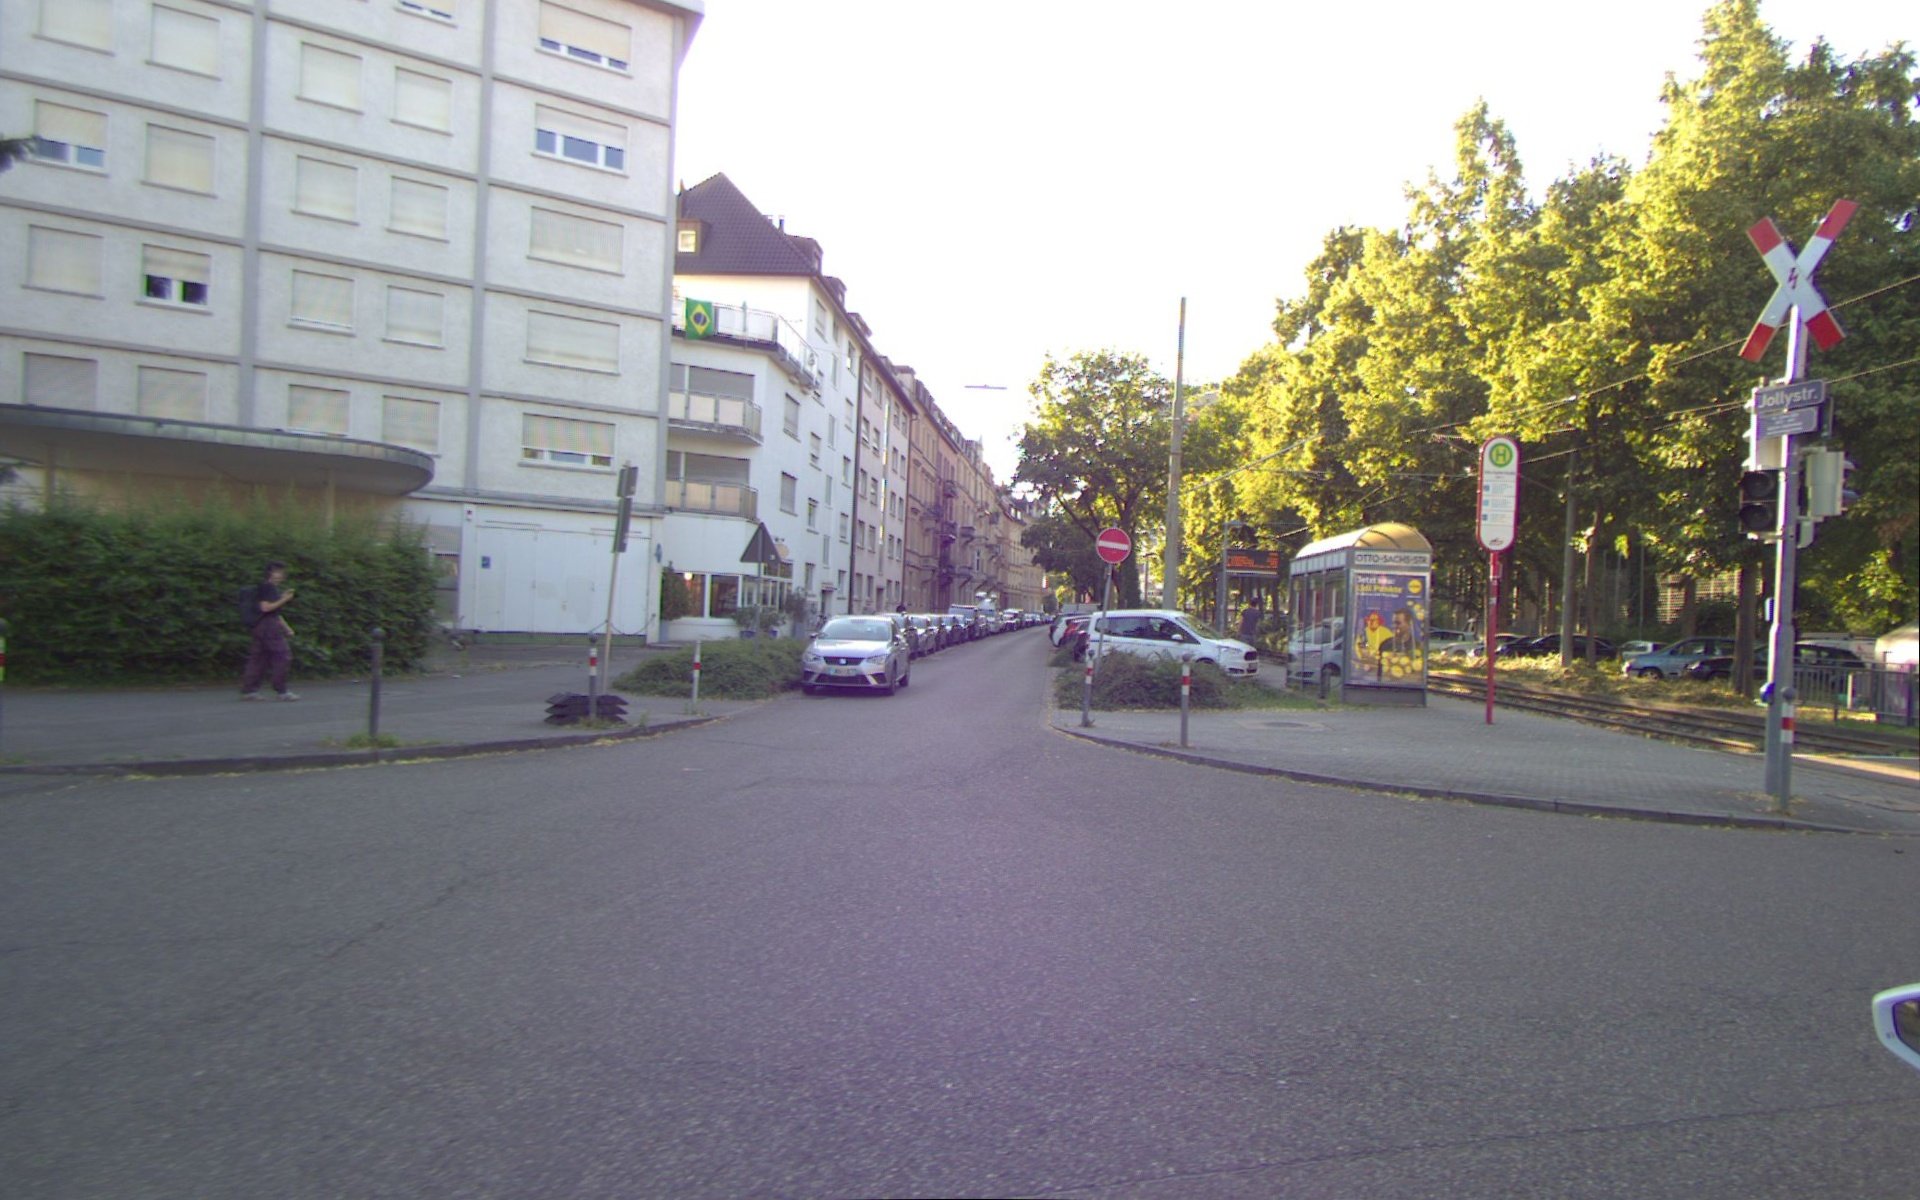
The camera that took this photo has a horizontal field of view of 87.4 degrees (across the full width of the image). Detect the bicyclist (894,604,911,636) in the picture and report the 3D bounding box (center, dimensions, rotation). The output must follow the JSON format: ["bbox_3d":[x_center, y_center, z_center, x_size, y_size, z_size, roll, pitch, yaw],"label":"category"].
[{"bbox_3d":[-3.040,1.069,52.929,0.699,1.638,0.724,2,0,7],"label":"bicyclist"}]

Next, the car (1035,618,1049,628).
[{"bbox_3d":[12.626,3.463,154.088,1.681,1.465,4.003,1,-1,11],"label":"car"}]

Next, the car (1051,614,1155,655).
[{"bbox_3d":[6.196,1.509,43.798,4.182,1.673,1.847,-3,-2,43],"label":"car"}]

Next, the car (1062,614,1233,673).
[{"bbox_3d":[4.995,1.185,26.911,4.133,1.455,1.697,-3,-1,31],"label":"car"}]

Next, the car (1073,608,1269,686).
[{"bbox_3d":[4.864,1.087,23.421,4.175,1.674,1.601,-3,-2,37],"label":"car"}]

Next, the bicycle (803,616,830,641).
[{"bbox_3d":[-6.088,1.198,42.682,0.522,1.016,2.177,2,0,7],"label":"bicycle"}]

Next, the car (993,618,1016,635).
[{"bbox_3d":[3.989,2.327,89.096,1.681,1.465,4.002,1,-1,8],"label":"car"}]

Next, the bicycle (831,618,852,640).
[{"bbox_3d":[-5.789,1.423,49.282,0.522,1.016,2.177,2,0,5],"label":"bicycle"}]

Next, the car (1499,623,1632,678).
[{"bbox_3d":[21.208,1.765,35.347,3.758,1.516,1.737,5,-1,26],"label":"car"}]

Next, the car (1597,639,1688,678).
[{"bbox_3d":[29.426,2.488,43.425,1.545,1.487,3.601,2,-1,2],"label":"car"}]

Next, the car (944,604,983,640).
[{"bbox_3d":[0.226,1.267,58.459,1.681,1.958,4.003,1,-1,9],"label":"car"}]

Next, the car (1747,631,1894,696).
[{"bbox_3d":[28.663,2.075,33.628,1.545,1.929,3.902,2,-1,1],"label":"car"}]

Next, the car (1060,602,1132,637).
[{"bbox_3d":[10.719,1.537,79.378,5.182,2.605,2.266,-3,-1,35],"label":"car"}]

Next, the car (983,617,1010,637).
[{"bbox_3d":[2.925,2.139,79.811,1.681,1.465,4.003,1,-1,9],"label":"car"}]

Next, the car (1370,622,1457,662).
[{"bbox_3d":[22.495,2.105,49.901,3.758,1.607,1.737,5,-1,26],"label":"car"}]

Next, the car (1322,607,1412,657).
[{"bbox_3d":[23.897,1.839,59.062,4.428,2.508,1.813,4,-1,37],"label":"car"}]

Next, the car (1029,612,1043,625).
[{"bbox_3d":[10.933,2.647,144.211,1.681,1.844,4.003,1,-1,10],"label":"car"}]

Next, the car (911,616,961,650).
[{"bbox_3d":[-1.106,1.529,47.579,1.681,1.465,4.003,1,-1,9],"label":"car"}]

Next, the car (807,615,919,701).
[{"bbox_3d":[-1.791,1.047,19.691,1.682,1.465,4.001,1,-1,2],"label":"car"}]

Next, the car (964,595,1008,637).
[{"bbox_3d":[1.957,1.154,73.772,2.509,2.926,5.485,1,0,9],"label":"car"}]

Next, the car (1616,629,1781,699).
[{"bbox_3d":[21.093,1.782,28.856,3.554,1.583,1.605,5,1,30],"label":"car"}]

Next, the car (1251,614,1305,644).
[{"bbox_3d":[28.196,2.555,89.008,4.027,2.238,1.813,4,-1,37],"label":"car"}]

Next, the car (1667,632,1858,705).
[{"bbox_3d":[20.671,1.724,26.069,3.554,1.466,1.605,5,1,30],"label":"car"}]

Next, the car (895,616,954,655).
[{"bbox_3d":[-1.402,1.435,41.456,1.681,1.465,4.003,1,-1,9],"label":"car"}]

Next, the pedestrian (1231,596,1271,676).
[{"bbox_3d":[7.286,0.883,25.130,0.834,1.936,0.838,2,0,21],"label":"pedestrian"}]

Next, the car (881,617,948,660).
[{"bbox_3d":[-1.620,1.376,36.963,1.681,1.465,4.003,1,-1,9],"label":"car"}]

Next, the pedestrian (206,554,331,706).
[{"bbox_3d":[-8.458,0.359,12.322,0.814,1.759,0.871,3,0,5],"label":"pedestrian"}]

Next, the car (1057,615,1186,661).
[{"bbox_3d":[5.677,1.352,35.455,4.167,1.478,1.604,-3,-1,31],"label":"car"}]

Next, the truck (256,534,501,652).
[{"bbox_3d":[-13.984,-0.112,24.490,4.911,2.568,1.985,2,-1,-29],"label":"truck"}]

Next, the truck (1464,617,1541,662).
[{"bbox_3d":[30.594,2.175,56.833,2.326,2.383,4.386,2,-1,7],"label":"truck"}]

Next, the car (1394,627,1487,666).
[{"bbox_3d":[22.386,2.156,46.881,3.758,1.440,1.737,5,-1,26],"label":"car"}]

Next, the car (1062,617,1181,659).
[{"bbox_3d":[6.126,1.462,38.335,4.167,1.478,1.604,-3,-1,31],"label":"car"}]

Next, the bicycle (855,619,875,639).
[{"bbox_3d":[-5.033,1.513,53.197,0.616,1.016,2.177,2,0,5],"label":"bicycle"}]

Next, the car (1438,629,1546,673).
[{"bbox_3d":[21.705,2.067,41.136,3.758,1.409,1.737,5,-1,26],"label":"car"}]

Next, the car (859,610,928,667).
[{"bbox_3d":[-2.099,1.198,32.709,1.682,1.695,4.002,1,-1,4],"label":"car"}]
